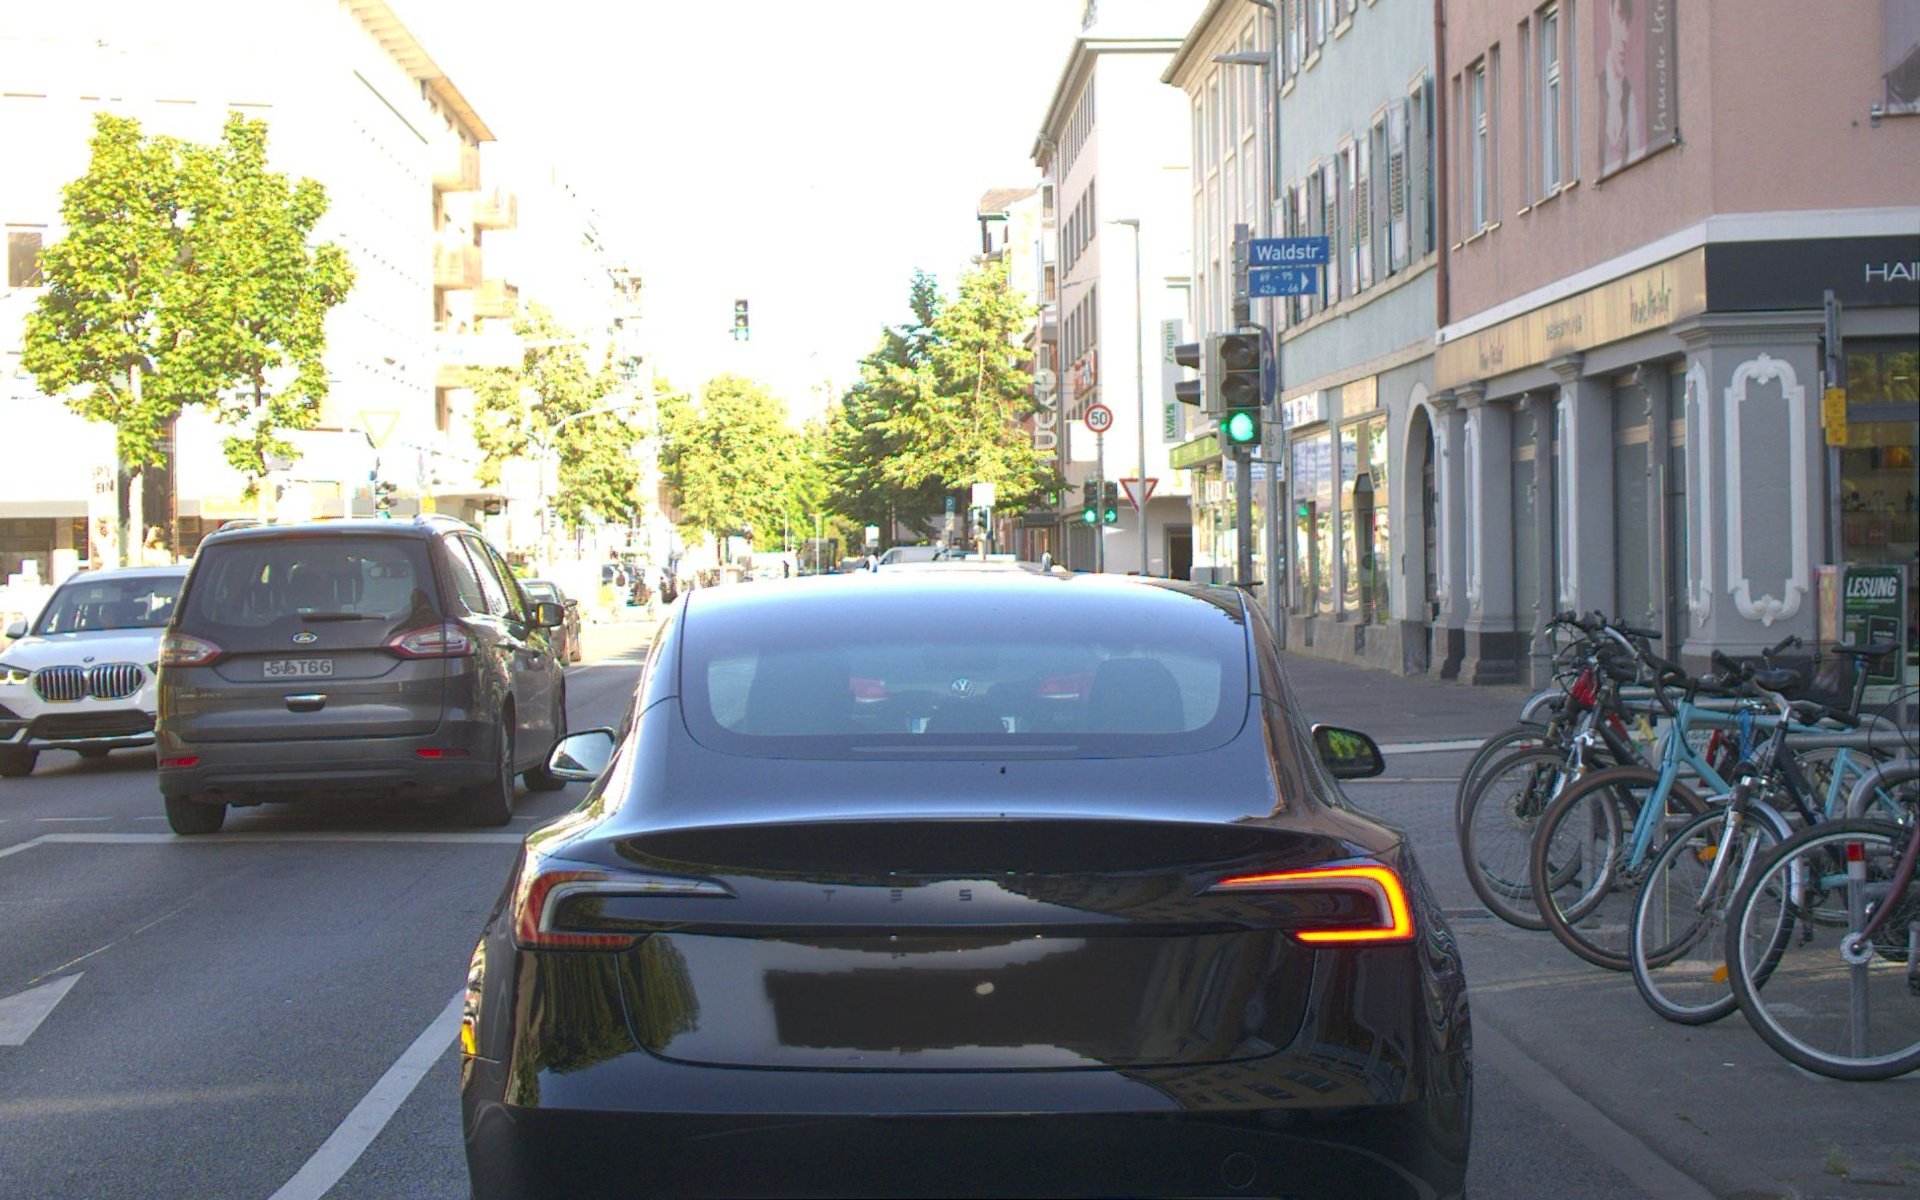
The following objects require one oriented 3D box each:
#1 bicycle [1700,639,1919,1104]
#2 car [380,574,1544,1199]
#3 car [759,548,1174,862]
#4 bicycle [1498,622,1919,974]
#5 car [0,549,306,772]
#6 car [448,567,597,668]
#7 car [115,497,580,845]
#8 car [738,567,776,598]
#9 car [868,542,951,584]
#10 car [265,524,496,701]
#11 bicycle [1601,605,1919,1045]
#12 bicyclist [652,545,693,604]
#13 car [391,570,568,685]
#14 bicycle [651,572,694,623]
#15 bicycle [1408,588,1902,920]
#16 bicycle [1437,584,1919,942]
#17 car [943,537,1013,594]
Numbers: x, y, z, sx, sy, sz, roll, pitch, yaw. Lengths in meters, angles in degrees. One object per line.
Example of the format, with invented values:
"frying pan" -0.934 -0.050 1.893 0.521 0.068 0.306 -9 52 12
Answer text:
"bicycle" 3.031 0.704 9.363 1.886 1.189 0.691 -2 1 5
"car" -0.017 0.674 7.472 1.848 1.450 4.000 0 1 -1
"car" -0.037 0.473 18.624 1.993 1.507 4.175 0 1 -2
"bicycle" 2.804 0.662 11.846 1.798 1.120 0.781 -2 1 5
"car" -6.546 0.423 27.793 1.807 1.550 4.310 -4 1 -3
"car" -7.128 0.250 56.397 1.993 1.431 4.675 -4 1 -3
"car" -3.427 0.330 20.142 1.993 1.766 4.729 -1 1 -2
"car" -11.002 -0.972 186.448 1.993 1.631 4.001 0 1 -3
"car" -2.473 -1.790 166.932 3.986 2.007 2.000 0 1 -2
"car" -6.711 0.094 40.297 1.834 1.838 4.674 -4 1 0
"bicycle" 2.885 0.657 10.495 1.722 1.263 0.790 -2 1 5
"bicyclist" -7.941 -0.703 94.989 1.126 1.623 0.965 0 1 -3
"car" -6.760 0.352 48.806 1.993 1.405 4.675 -4 1 -3
"bicycle" -7.924 -0.087 94.904 1.111 1.340 4.001 0 1 -3
"bicycle" 2.807 0.613 14.055 1.862 1.253 0.832 -2 1 5
"bicycle" 2.738 0.600 13.025 1.746 1.262 0.781 -2 1 3
"car" 0.500 -1.005 100.211 1.993 1.623 4.000 0 1 0
